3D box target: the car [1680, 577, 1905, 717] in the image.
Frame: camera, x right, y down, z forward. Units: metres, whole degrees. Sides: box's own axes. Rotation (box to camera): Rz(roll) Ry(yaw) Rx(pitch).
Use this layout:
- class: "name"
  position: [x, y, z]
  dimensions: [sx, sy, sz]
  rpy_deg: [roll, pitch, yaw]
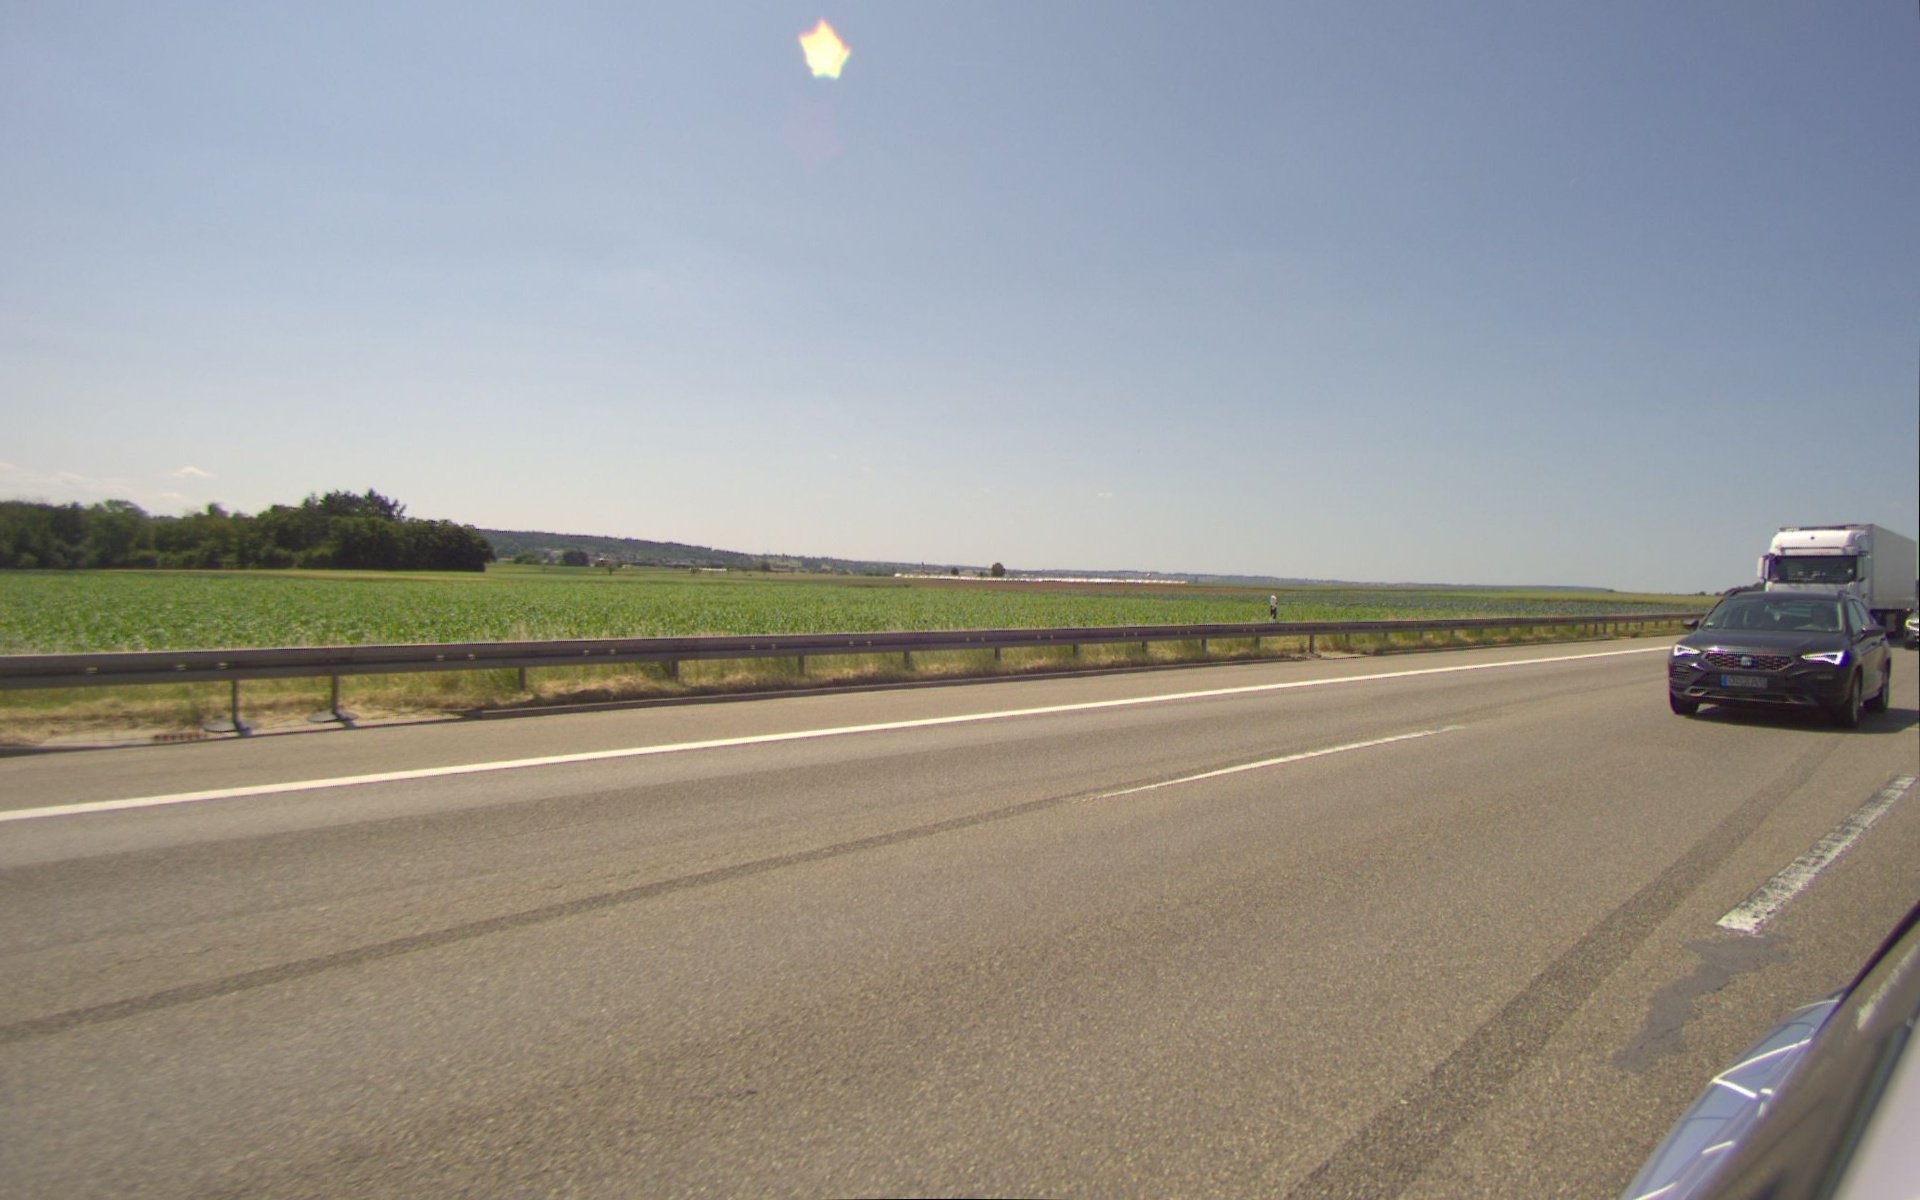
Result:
- class: "car"
  position: [11.111, 0.518, 13.428]
  dimensions: [3.758, 1.582, 1.799]
  rpy_deg: [0, 0, -42]

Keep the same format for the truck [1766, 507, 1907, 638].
- class: "truck"
  position: [30.704, -0.903, 35.355]
  dimensions: [6.761, 4.143, 2.867]
  rpy_deg: [0, 0, -42]

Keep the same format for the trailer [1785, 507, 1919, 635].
- class: "trailer"
  position: [35.336, -1.023, 39.404]
  dimensions: [13.063, 4.273, 2.872]
  rpy_deg: [0, 0, -41]
